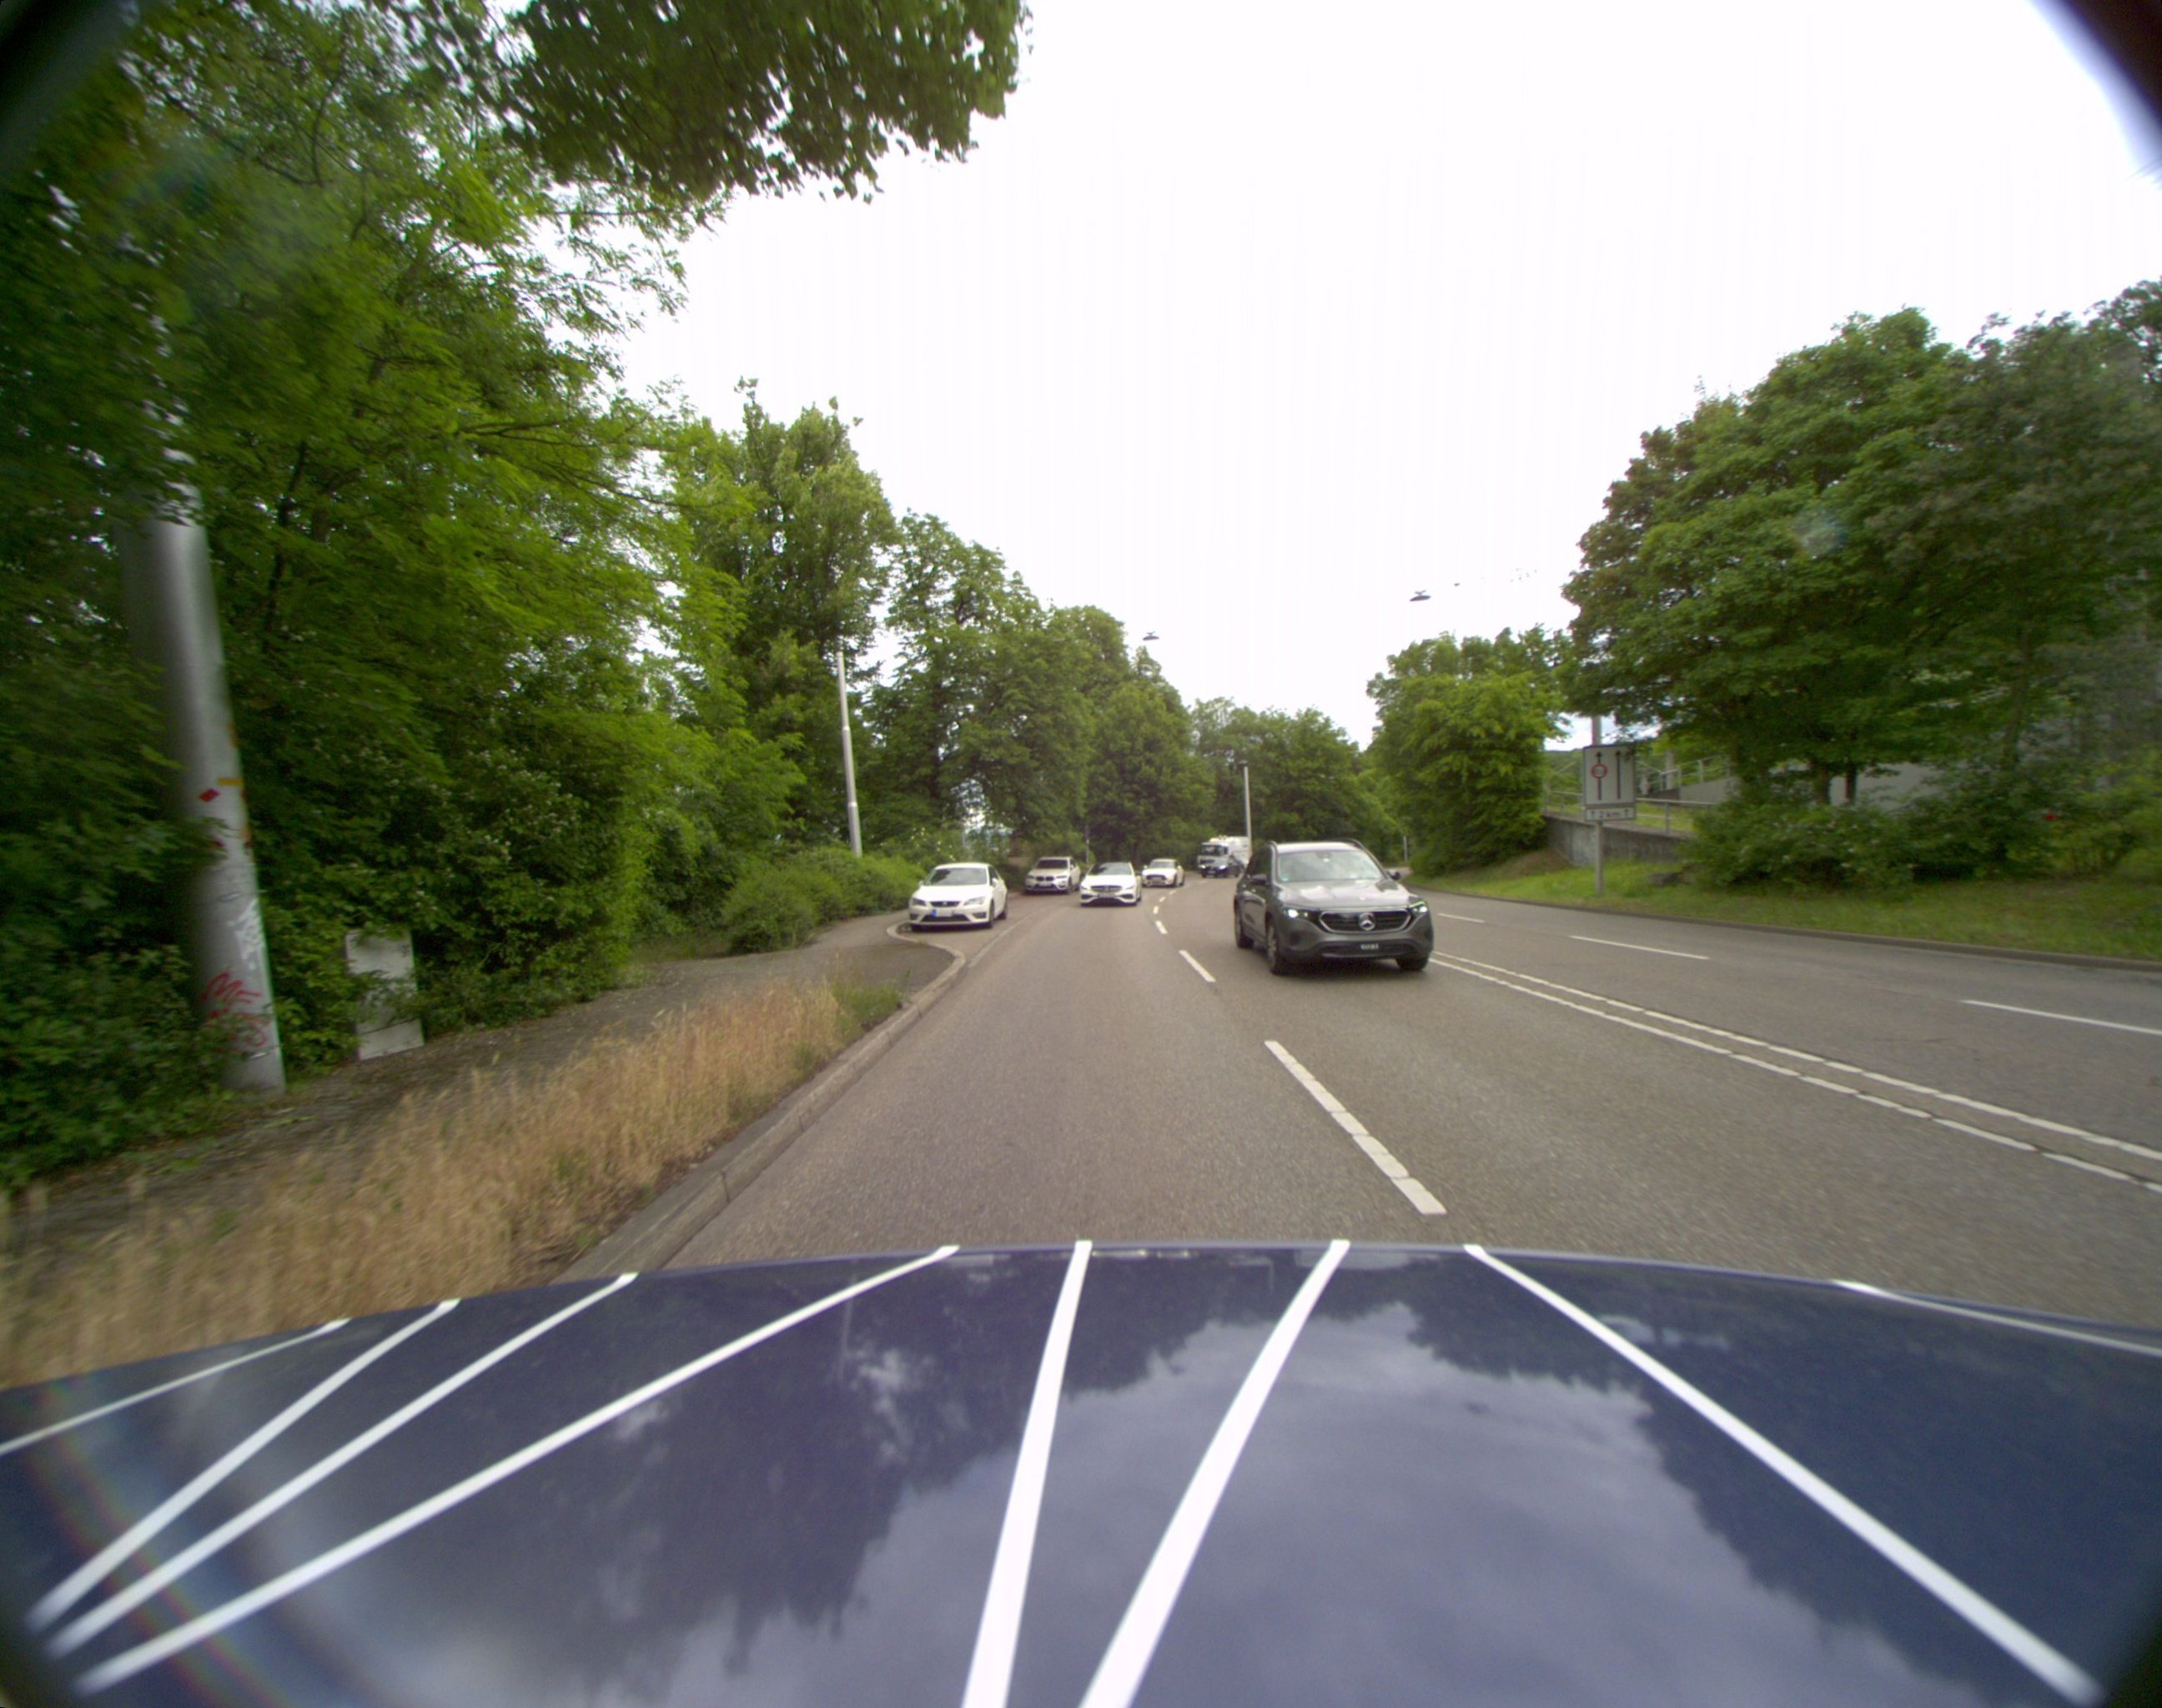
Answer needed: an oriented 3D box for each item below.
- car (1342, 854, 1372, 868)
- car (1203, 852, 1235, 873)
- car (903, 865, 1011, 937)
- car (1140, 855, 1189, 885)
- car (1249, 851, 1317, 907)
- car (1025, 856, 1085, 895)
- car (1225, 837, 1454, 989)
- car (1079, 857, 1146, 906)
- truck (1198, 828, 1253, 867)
[{"bbox_3d":[28.003,0.689,76.982,1.751,1.354,4.019,1,0,36],"label":"car"},{"bbox_3d":[9.881,0.606,54.045,1.753,1.417,4.016,1,0,17],"label":"car"},{"bbox_3d":[-2.738,0.996,17.599,1.765,1.433,3.892,-1,0,1],"label":"car"},{"bbox_3d":[4.361,0.782,39.103,1.686,1.416,3.738,0,1,19],"label":"car"},{"bbox_3d":[6.467,0.766,24.681,1.852,1.641,4.362,-1,0,12],"label":"car"},{"bbox_3d":[-1.055,0.890,32.946,1.754,1.575,4.014,-1,0,11],"label":"car"},{"bbox_3d":[3.258,0.666,10.551,1.854,1.641,4.359,-1,0,3],"label":"car"},{"bbox_3d":[1.124,0.856,25.091,1.800,1.470,4.013,-1,0,8],"label":"car"},{"bbox_3d":[12.475,-0.499,65.272,2.195,3.137,6.665,-1,0,34],"label":"truck"}]
